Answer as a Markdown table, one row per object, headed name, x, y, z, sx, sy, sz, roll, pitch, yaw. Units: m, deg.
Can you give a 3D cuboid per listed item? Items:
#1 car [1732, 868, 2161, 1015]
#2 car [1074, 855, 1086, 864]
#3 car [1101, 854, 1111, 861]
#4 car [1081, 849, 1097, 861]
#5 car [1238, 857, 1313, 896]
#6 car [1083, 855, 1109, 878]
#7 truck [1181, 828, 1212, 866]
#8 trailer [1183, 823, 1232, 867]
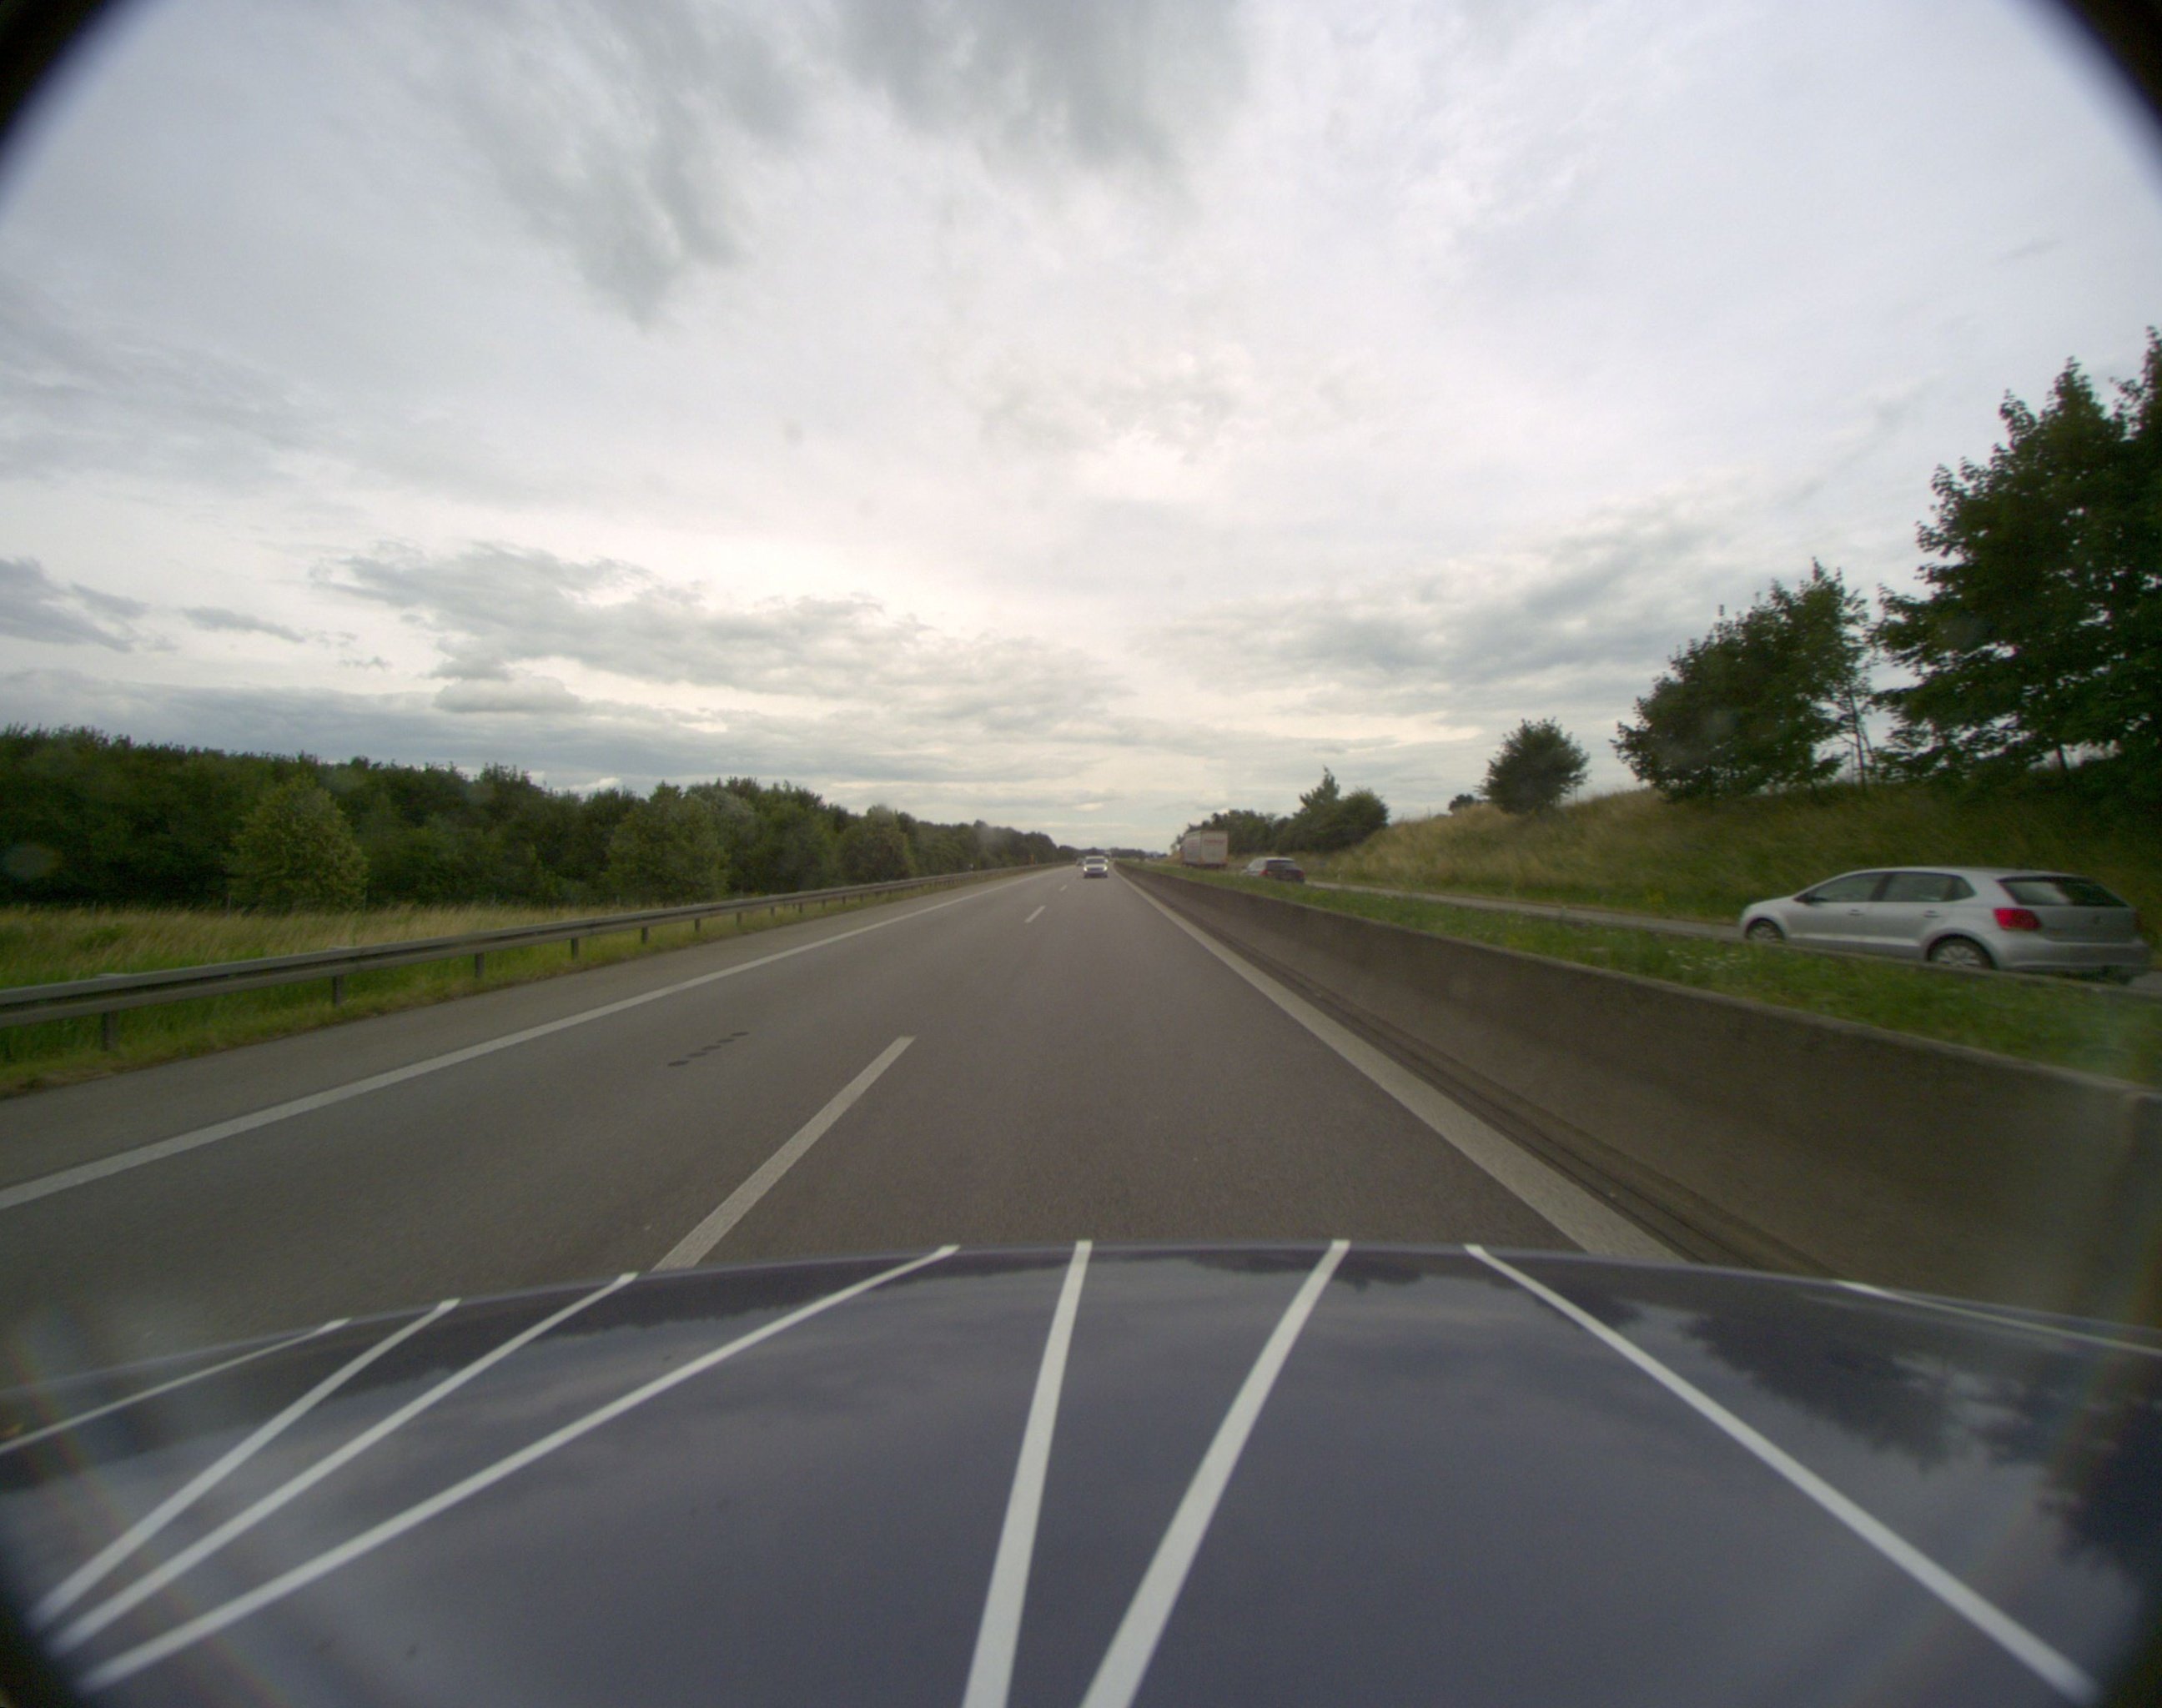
| name | x | y | z | sx | sy | sz | roll | pitch | yaw |
| --- | --- | --- | --- | --- | --- | --- | --- | --- | --- |
| car | 10.867 | 0.941 | 9.749 | 1.650 | 1.401 | 3.887 | 1 | 0 | 0 |
| car | -0.149 | 1.052 | 149.165 | 1.915 | 1.553 | 4.290 | -1 | 0 | 5 |
| car | 5.583 | 0.789 | 168.228 | 1.915 | 1.553 | 4.290 | -1 | 0 | 5 |
| car | 1.108 | 0.076 | 102.771 | 1.915 | 1.553 | 4.290 | -1 | 0 | 5 |
| car | 7.730 | 0.855 | 30.603 | 1.852 | 1.370 | 4.600 | 1 | 0 | 1 |
| car | 1.122 | 0.914 | 57.634 | 1.916 | 1.553 | 4.288 | -1 | 0 | 0 |
| truck | 12.832 | -0.749 | 84.837 | 2.713 | 4.064 | 5.165 | 1 | 0 | 1 |
| trailer | 12.699 | -0.825 | 77.710 | 2.713 | 4.064 | 14.598 | 1 | 0 | 1 |
